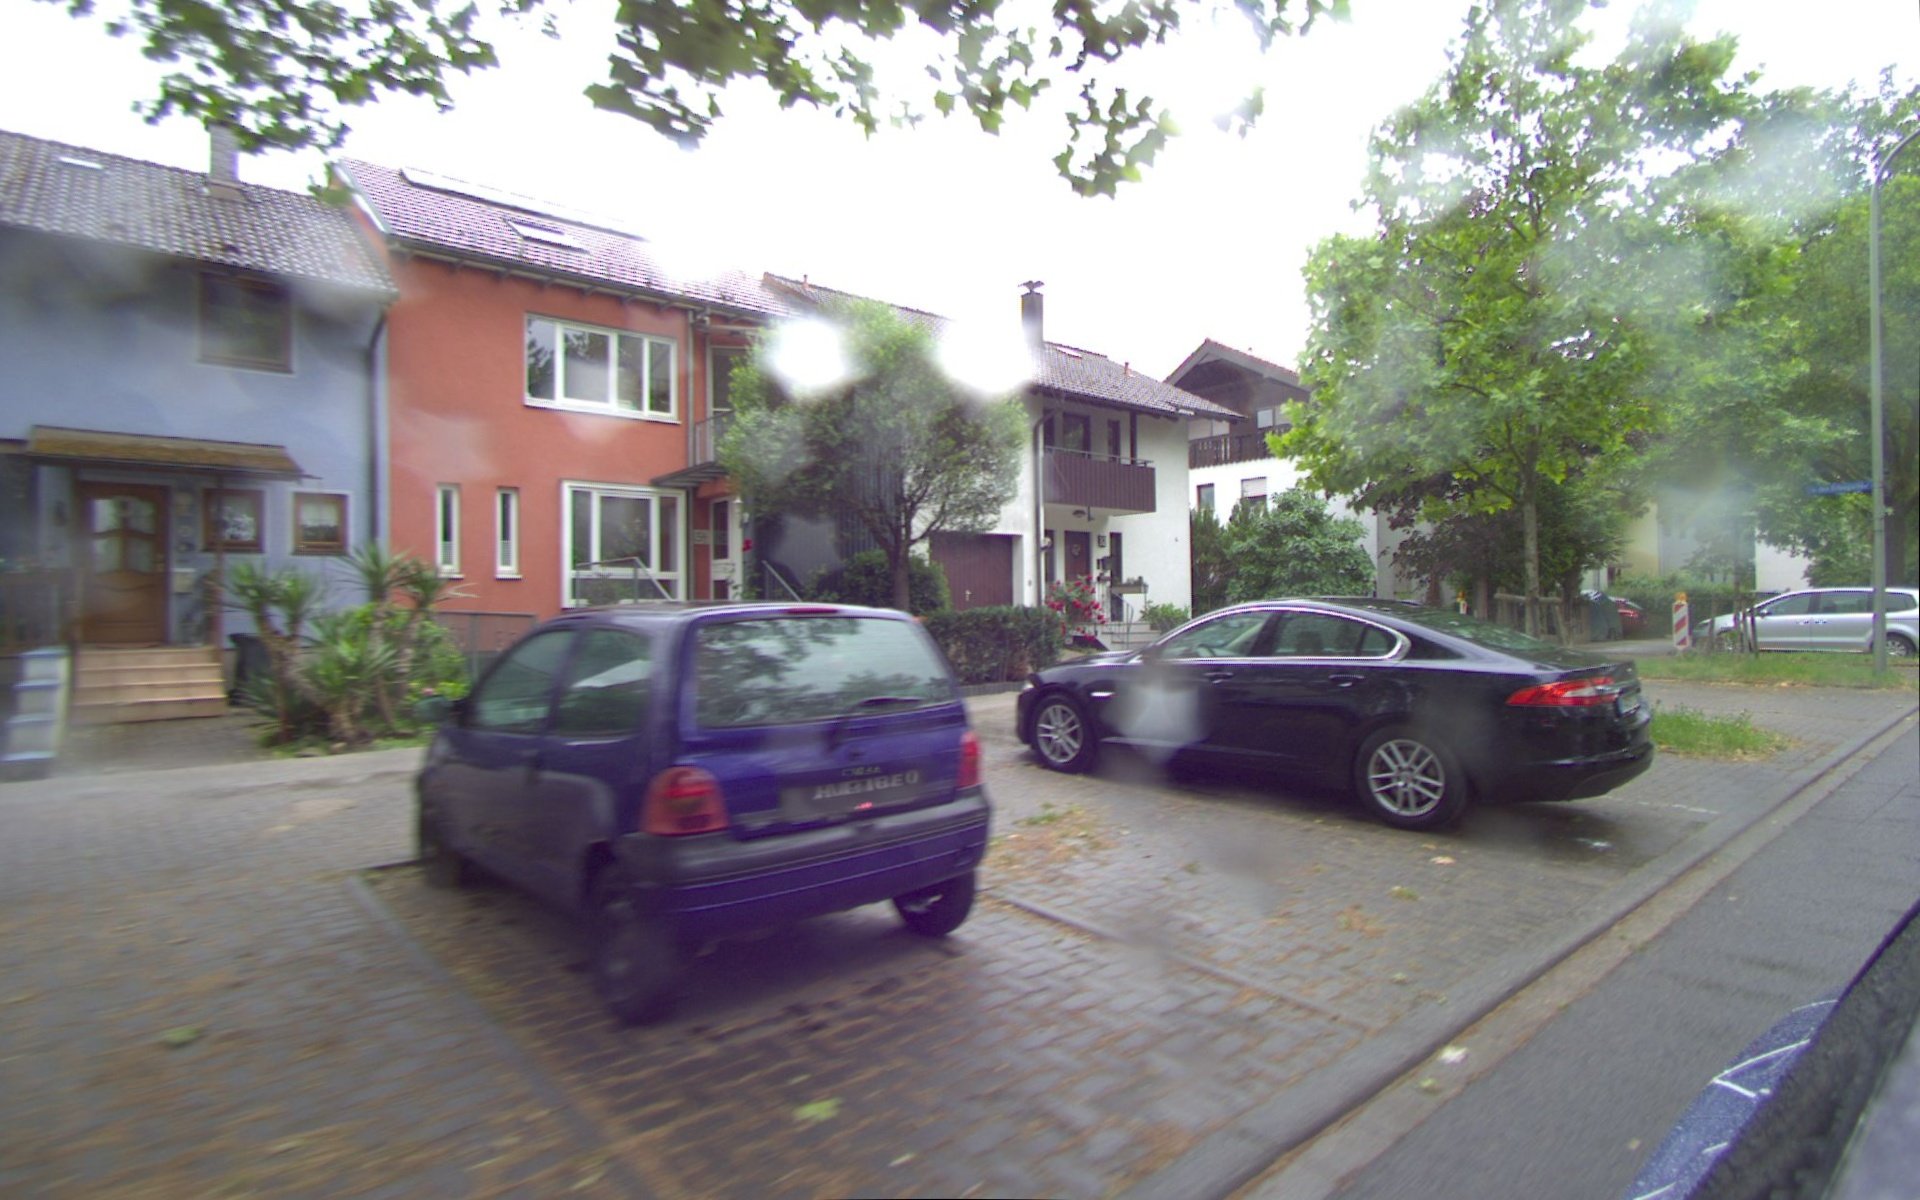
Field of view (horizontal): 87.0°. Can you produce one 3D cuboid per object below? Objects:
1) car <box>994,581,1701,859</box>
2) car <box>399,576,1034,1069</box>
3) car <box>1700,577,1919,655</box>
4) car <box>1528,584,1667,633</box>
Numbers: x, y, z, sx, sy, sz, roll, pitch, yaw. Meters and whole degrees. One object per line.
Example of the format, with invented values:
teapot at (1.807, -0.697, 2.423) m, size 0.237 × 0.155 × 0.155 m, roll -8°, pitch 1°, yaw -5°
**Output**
car at (2.630, 0.625, 7.806) m, size 1.906 × 1.491 × 4.768 m, roll 0°, pitch 0°, yaw -44°
car at (-1.398, 0.672, 4.852) m, size 1.591 × 1.482 × 3.360 m, roll 0°, pitch 0°, yaw -41°
car at (20.384, 0.335, 23.668) m, size 1.942 × 1.682 × 4.695 m, roll 0°, pitch 0°, yaw -42°
car at (22.711, 0.276, 36.146) m, size 1.809 × 1.633 × 3.853 m, roll 0°, pitch 0°, yaw -38°
